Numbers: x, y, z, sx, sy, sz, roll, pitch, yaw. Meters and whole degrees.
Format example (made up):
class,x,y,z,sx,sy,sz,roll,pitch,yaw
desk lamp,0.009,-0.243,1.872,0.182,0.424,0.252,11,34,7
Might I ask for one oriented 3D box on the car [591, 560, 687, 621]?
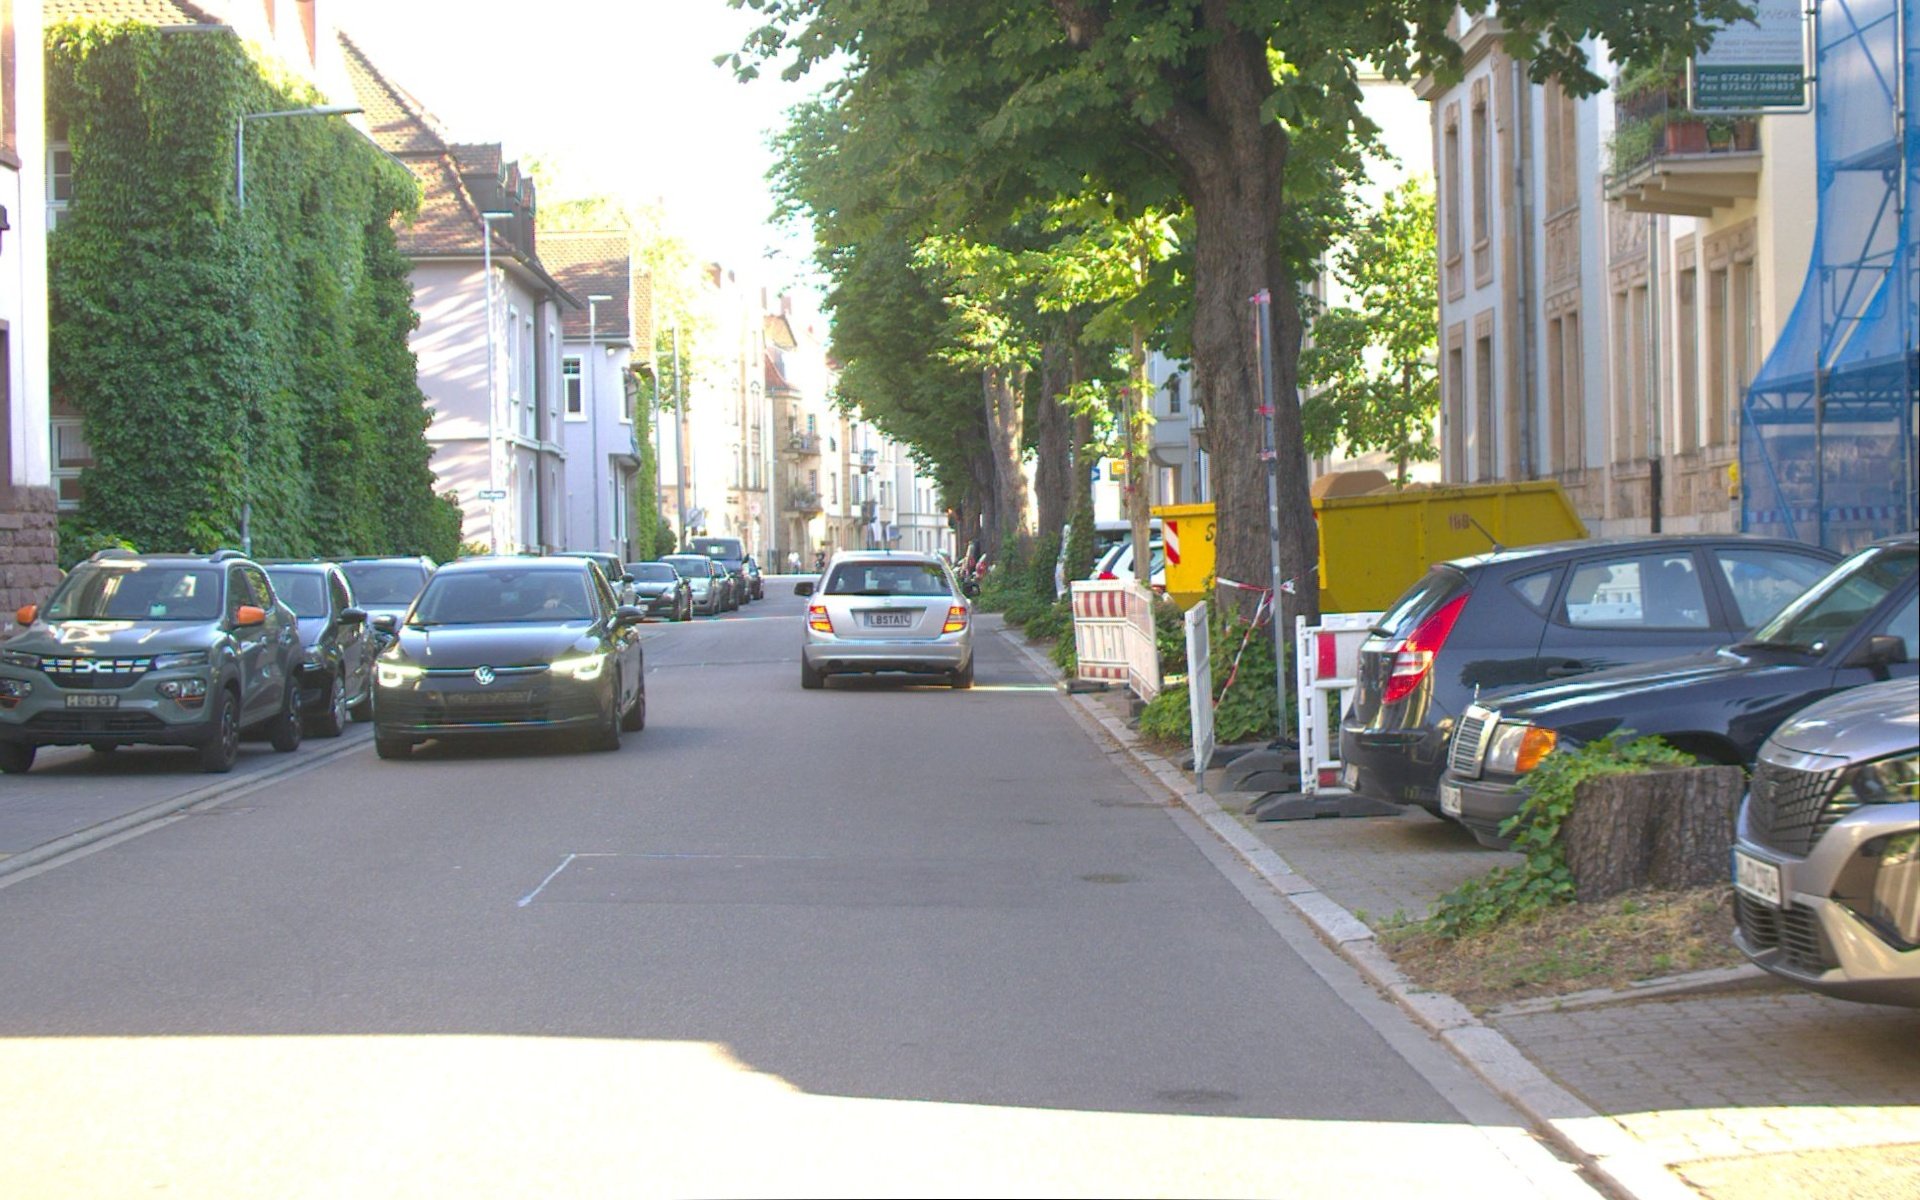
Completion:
class,x,y,z,sx,sy,sz,roll,pitch,yaw
car,-7.055,-0.219,75.853,1.653,1.319,4.045,0,0,1

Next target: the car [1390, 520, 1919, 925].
class,x,y,z,sx,sy,sz,roll,pitch,yaw
car,4.364,0.416,14.764,4.718,1.530,1.851,-3,1,-1

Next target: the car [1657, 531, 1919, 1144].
class,x,y,z,sx,sy,sz,roll,pitch,yaw
car,4.273,0.507,9.708,4.155,1.534,1.851,-3,1,-1

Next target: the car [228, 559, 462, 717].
class,x,y,z,sx,sy,sz,roll,pitch,yaw
car,-6.134,0.335,34.733,1.792,1.456,4.778,0,1,-4

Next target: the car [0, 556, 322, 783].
class,x,y,z,sx,sy,sz,roll,pitch,yaw
car,-5.733,0.437,24.670,1.653,1.480,3.764,0,1,-1

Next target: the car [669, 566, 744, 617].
class,x,y,z,sx,sy,sz,roll,pitch,yaw
car,-6.615,-0.229,90.055,1.531,1.314,4.226,0,0,2

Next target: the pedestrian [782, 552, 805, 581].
class,x,y,z,sx,sy,sz,roll,pitch,yaw
pedestrian,-9.786,-1.980,202.145,1.221,1.716,1.503,0,1,2

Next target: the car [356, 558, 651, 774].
class,x,y,z,sx,sy,sz,roll,pitch,yaw
car,-3.412,0.441,26.354,1.772,1.443,4.000,-2,1,-1

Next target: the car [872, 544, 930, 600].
class,x,y,z,sx,sy,sz,roll,pitch,yaw
car,-1.716,-0.840,101.009,1.623,1.564,3.680,-1,1,0

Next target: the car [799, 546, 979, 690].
class,x,y,z,sx,sy,sz,roll,pitch,yaw
car,-0.714,0.171,35.994,1.784,1.432,3.851,0,0,0

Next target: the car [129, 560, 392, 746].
class,x,y,z,sx,sy,sz,roll,pitch,yaw
car,-5.847,0.397,29.110,1.653,1.442,3.845,0,1,-3

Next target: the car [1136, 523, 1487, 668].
class,x,y,z,sx,sy,sz,roll,pitch,yaw
car,3.985,-0.064,39.334,3.852,1.457,1.686,-3,1,4

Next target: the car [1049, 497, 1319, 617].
class,x,y,z,sx,sy,sz,roll,pitch,yaw
car,3.740,-0.731,57.924,4.314,1.801,2.000,-3,1,-1

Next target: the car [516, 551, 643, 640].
class,x,y,z,sx,sy,sz,roll,pitch,yaw
car,-6.439,-0.103,58.492,1.704,1.455,3.917,0,1,0

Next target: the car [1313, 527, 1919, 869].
class,x,y,z,sx,sy,sz,roll,pitch,yaw
car,3.888,0.431,17.281,3.987,1.487,1.851,-3,1,1

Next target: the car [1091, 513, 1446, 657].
class,x,y,z,sx,sy,sz,roll,pitch,yaw
car,3.716,-0.195,41.907,4.144,1.529,1.687,-3,1,1

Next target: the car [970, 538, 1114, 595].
class,x,y,z,sx,sy,sz,roll,pitch,yaw
car,2.448,-0.987,102.552,4.190,1.470,1.851,-3,1,2

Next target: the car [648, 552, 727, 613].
class,x,y,z,sx,sy,sz,roll,pitch,yaw
car,-6.717,-0.451,84.932,1.653,1.440,3.960,0,1,0
